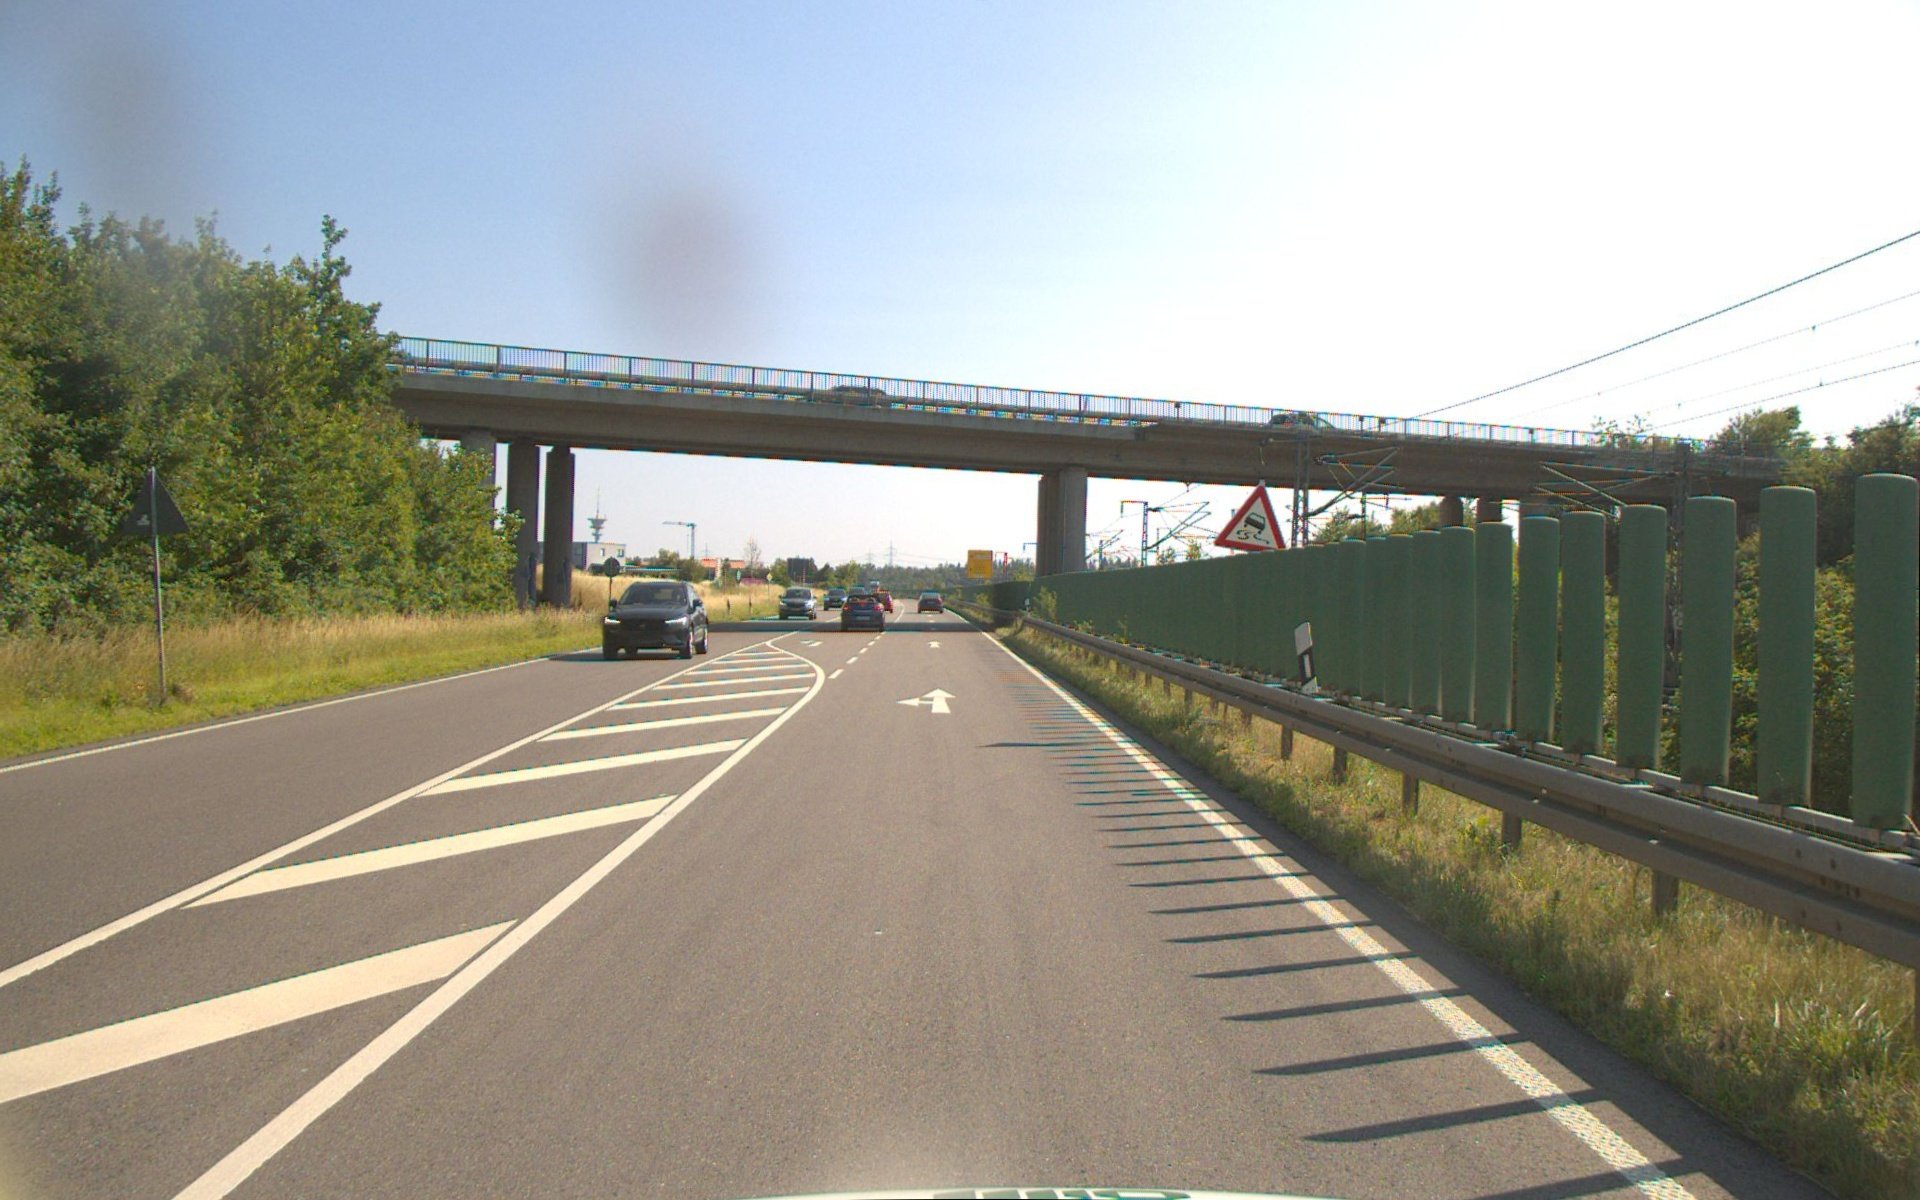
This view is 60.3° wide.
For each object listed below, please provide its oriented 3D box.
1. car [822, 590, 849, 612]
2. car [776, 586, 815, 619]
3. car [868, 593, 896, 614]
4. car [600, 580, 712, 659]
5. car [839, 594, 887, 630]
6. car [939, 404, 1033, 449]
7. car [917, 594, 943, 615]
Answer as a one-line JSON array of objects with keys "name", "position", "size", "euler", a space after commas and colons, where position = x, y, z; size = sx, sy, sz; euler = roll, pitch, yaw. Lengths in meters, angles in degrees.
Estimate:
[{"name": "car", "position": [-9.578, 0.106, 127.260], "size": [1.856, 1.659, 3.999], "euler": [1, 0, -1]}, {"name": "car", "position": [-8.670, 0.113, 87.304], "size": [1.808, 1.659, 3.998], "euler": [1, 1, -3]}, {"name": "car", "position": [-5.505, 0.270, 116.903], "size": [1.856, 1.443, 3.999], "euler": [1, 0, -1]}, {"name": "car", "position": [-6.639, 0.399, 36.534], "size": [1.884, 1.621, 4.426], "euler": [1, 0, -4]}, {"name": "car", "position": [-3.610, 0.426, 61.997], "size": [1.629, 1.283, 3.999], "euler": [1, 0, -1]}, {"name": "car", "position": [1.185, -7.976, 76.176], "size": [3.933, 1.672, 1.901], "euler": [1, 0, -23]}, {"name": "car", "position": [-2.154, 0.308, 118.469], "size": [1.856, 1.443, 3.999], "euler": [1, 0, -1]}]
